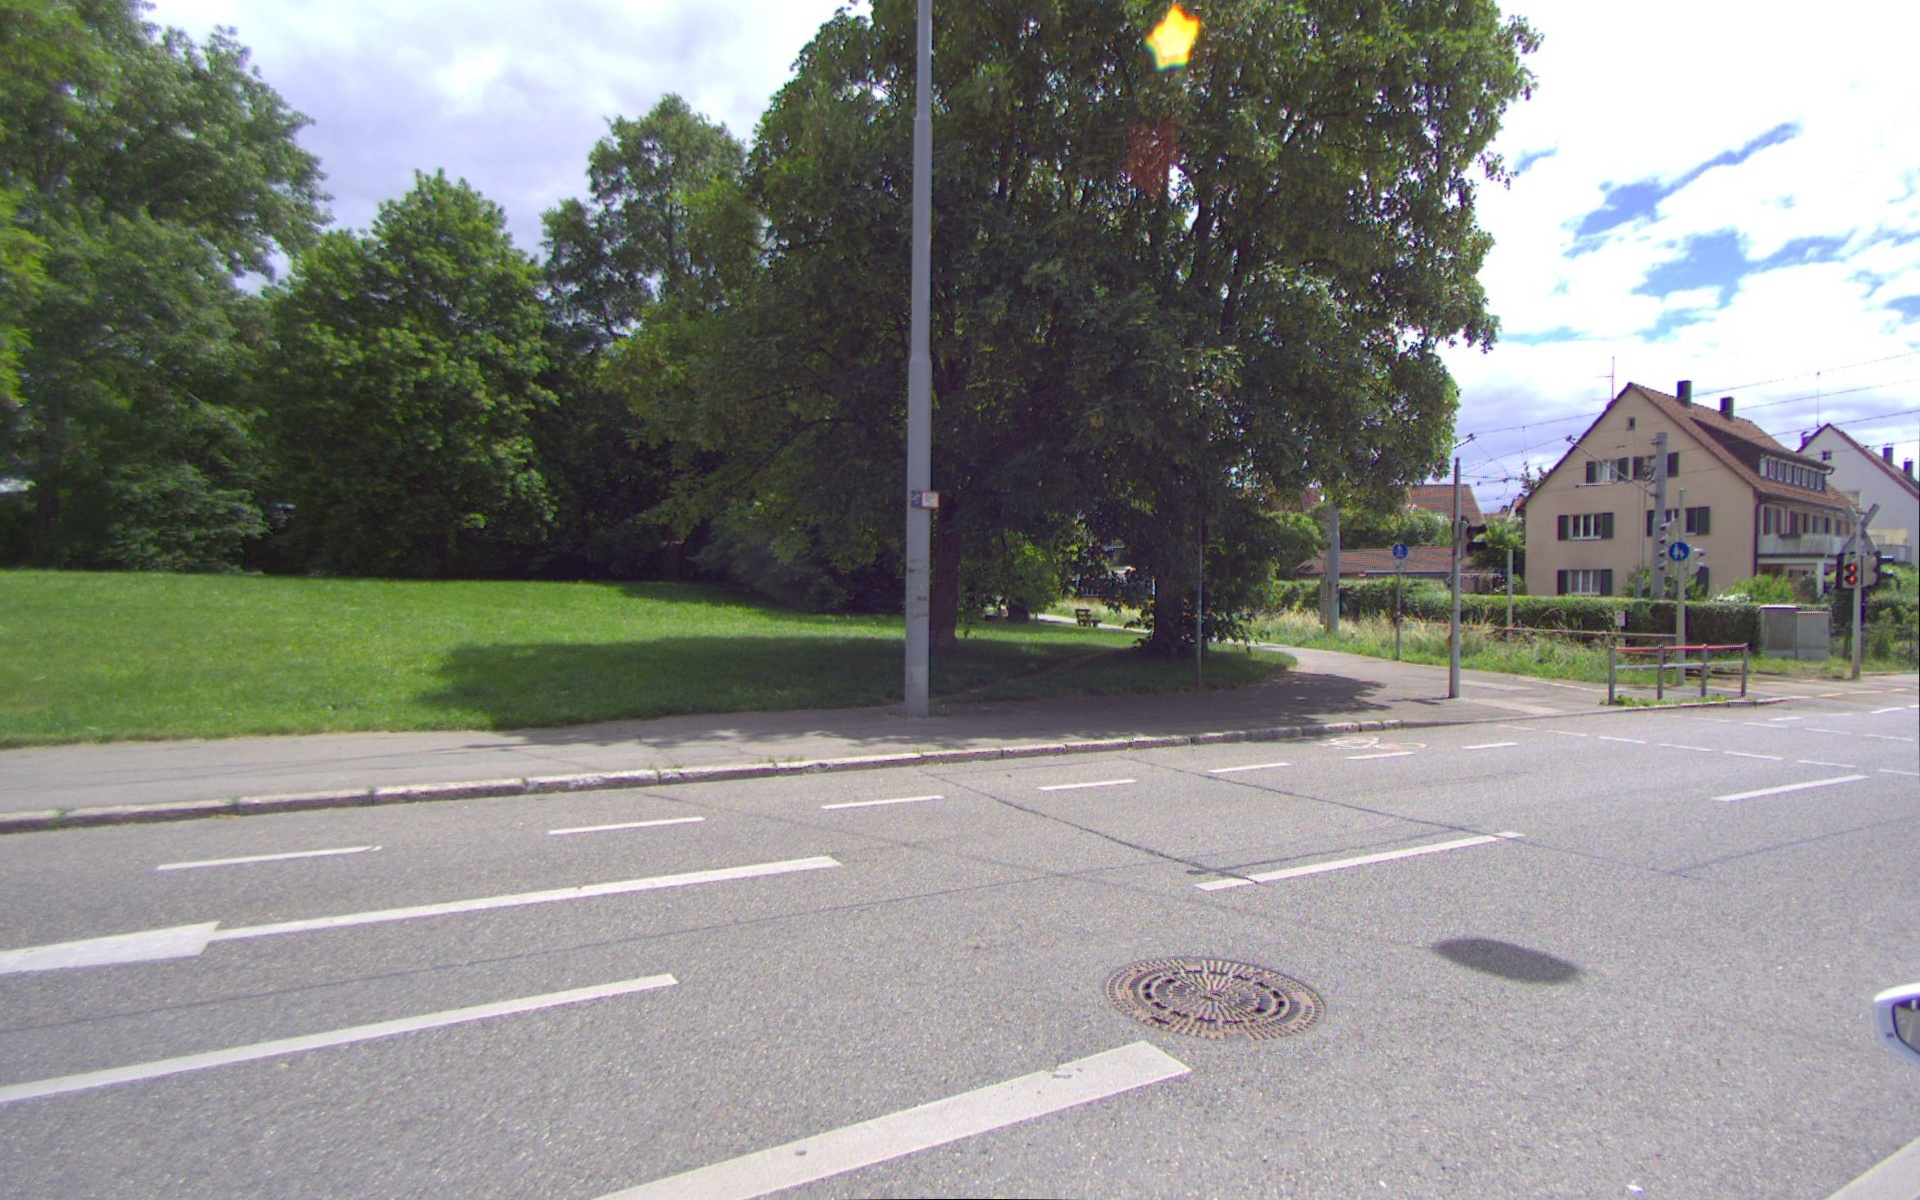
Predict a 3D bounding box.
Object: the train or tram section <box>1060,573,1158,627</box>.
[{"bbox_3d":[11.382,-0.111,79.586,2.864,3.754,19.098,1,1,-6],"label":"train or tram section"}]
